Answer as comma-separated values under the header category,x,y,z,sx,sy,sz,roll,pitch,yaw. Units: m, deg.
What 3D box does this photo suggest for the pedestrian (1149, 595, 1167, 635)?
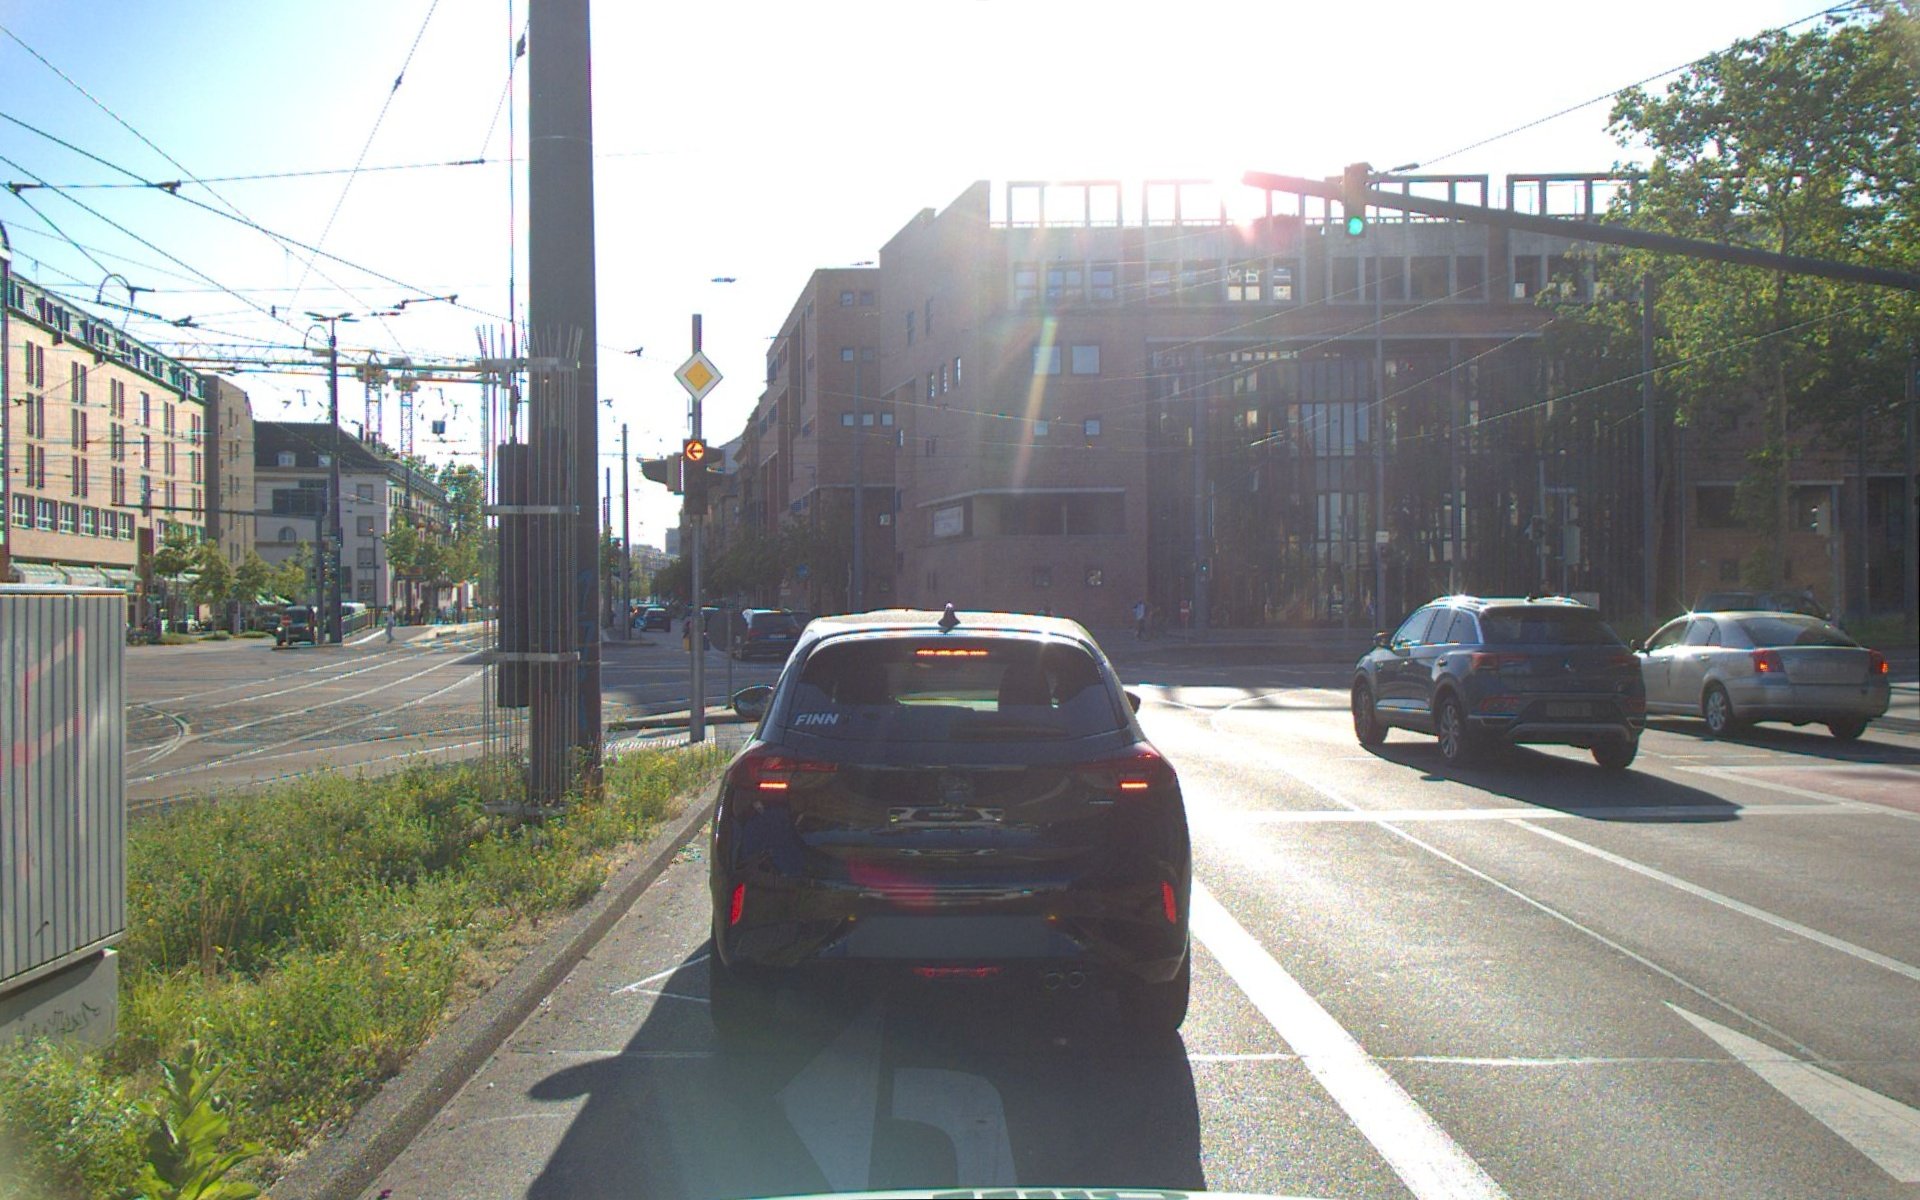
category,x,y,z,sx,sy,sz,roll,pitch,yaw
pedestrian,8.263,0.620,69.023,0.722,1.645,0.561,-1,0,8

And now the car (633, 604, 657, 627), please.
category,x,y,z,sx,sy,sz,roll,pitch,yaw
car,-23.440,1.121,122.941,1.706,1.680,3.988,0,0,-12

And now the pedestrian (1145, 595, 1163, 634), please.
category,x,y,z,sx,sy,sz,roll,pitch,yaw
pedestrian,8.225,0.621,69.953,0.722,1.645,0.561,-1,0,8

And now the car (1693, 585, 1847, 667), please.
category,x,y,z,sx,sy,sz,roll,pitch,yaw
car,17.543,0.515,35.724,1.665,1.657,4.430,-1,0,45

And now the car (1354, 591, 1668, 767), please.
category,x,y,z,sx,sy,sz,roll,pitch,yaw
car,5.342,0.695,16.575,1.710,1.531,3.878,-1,0,-3

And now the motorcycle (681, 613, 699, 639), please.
category,x,y,z,sx,sy,sz,roll,pitch,yaw
motorcycle,-11.939,1.134,73.247,0.761,1.135,1.965,-1,0,-9

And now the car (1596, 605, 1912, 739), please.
category,x,y,z,sx,sy,sz,roll,pitch,yaw
car,9.739,0.809,20.733,1.715,1.456,4.487,-1,0,-1

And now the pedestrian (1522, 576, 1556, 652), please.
category,x,y,z,sx,sy,sz,roll,pitch,yaw
pedestrian,13.657,0.328,39.020,0.692,1.789,0.560,-1,0,25

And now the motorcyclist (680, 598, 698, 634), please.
category,x,y,z,sx,sy,sz,roll,pitch,yaw
motorcyclist,-11.983,0.695,73.194,0.731,1.557,1.019,-1,0,-9

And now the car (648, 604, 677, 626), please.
category,x,y,z,sx,sy,sz,roll,pitch,yaw
car,-18.977,0.959,105.394,1.707,1.373,3.988,0,0,-12

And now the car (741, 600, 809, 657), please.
category,x,y,z,sx,sy,sz,roll,pitch,yaw
car,-5.439,0.793,48.253,1.777,1.518,4.487,-2,0,-9

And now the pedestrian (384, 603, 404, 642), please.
category,x,y,z,sx,sy,sz,roll,pitch,yaw
pedestrian,-24.739,0.984,72.285,0.753,1.669,0.741,-1,0,-15

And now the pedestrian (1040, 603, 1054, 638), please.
category,x,y,z,sx,sy,sz,roll,pitch,yaw
pedestrian,3.637,0.867,69.338,0.519,1.455,0.598,-1,0,-1

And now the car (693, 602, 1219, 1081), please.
category,x,y,z,sx,sy,sz,roll,pitch,yaw
car,0.003,0.749,7.103,1.615,1.458,4.000,0,0,0

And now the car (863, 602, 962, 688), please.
category,x,y,z,sx,sy,sz,roll,pitch,yaw
car,-1.027,0.860,33.379,1.653,1.458,4.149,3,1,-6

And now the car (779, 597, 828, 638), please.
category,x,y,z,sx,sy,sz,roll,pitch,yaw
car,-6.010,0.642,63.287,1.773,1.483,3.994,1,0,-7

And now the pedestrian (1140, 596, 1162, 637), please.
category,x,y,z,sx,sy,sz,roll,pitch,yaw
pedestrian,7.787,0.657,67.439,0.881,1.645,0.561,-1,0,8

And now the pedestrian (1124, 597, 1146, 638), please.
category,x,y,z,sx,sy,sz,roll,pitch,yaw
pedestrian,7.218,0.723,68.120,0.881,1.645,0.561,-1,0,8

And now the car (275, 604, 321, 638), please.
category,x,y,z,sx,sy,sz,roll,pitch,yaw
car,-31.207,0.975,78.022,1.717,1.531,3.861,-1,0,-18

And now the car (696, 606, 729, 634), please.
category,x,y,z,sx,sy,sz,roll,pitch,yaw
car,-13.998,1.123,93.513,1.774,1.483,3.992,1,0,-9
